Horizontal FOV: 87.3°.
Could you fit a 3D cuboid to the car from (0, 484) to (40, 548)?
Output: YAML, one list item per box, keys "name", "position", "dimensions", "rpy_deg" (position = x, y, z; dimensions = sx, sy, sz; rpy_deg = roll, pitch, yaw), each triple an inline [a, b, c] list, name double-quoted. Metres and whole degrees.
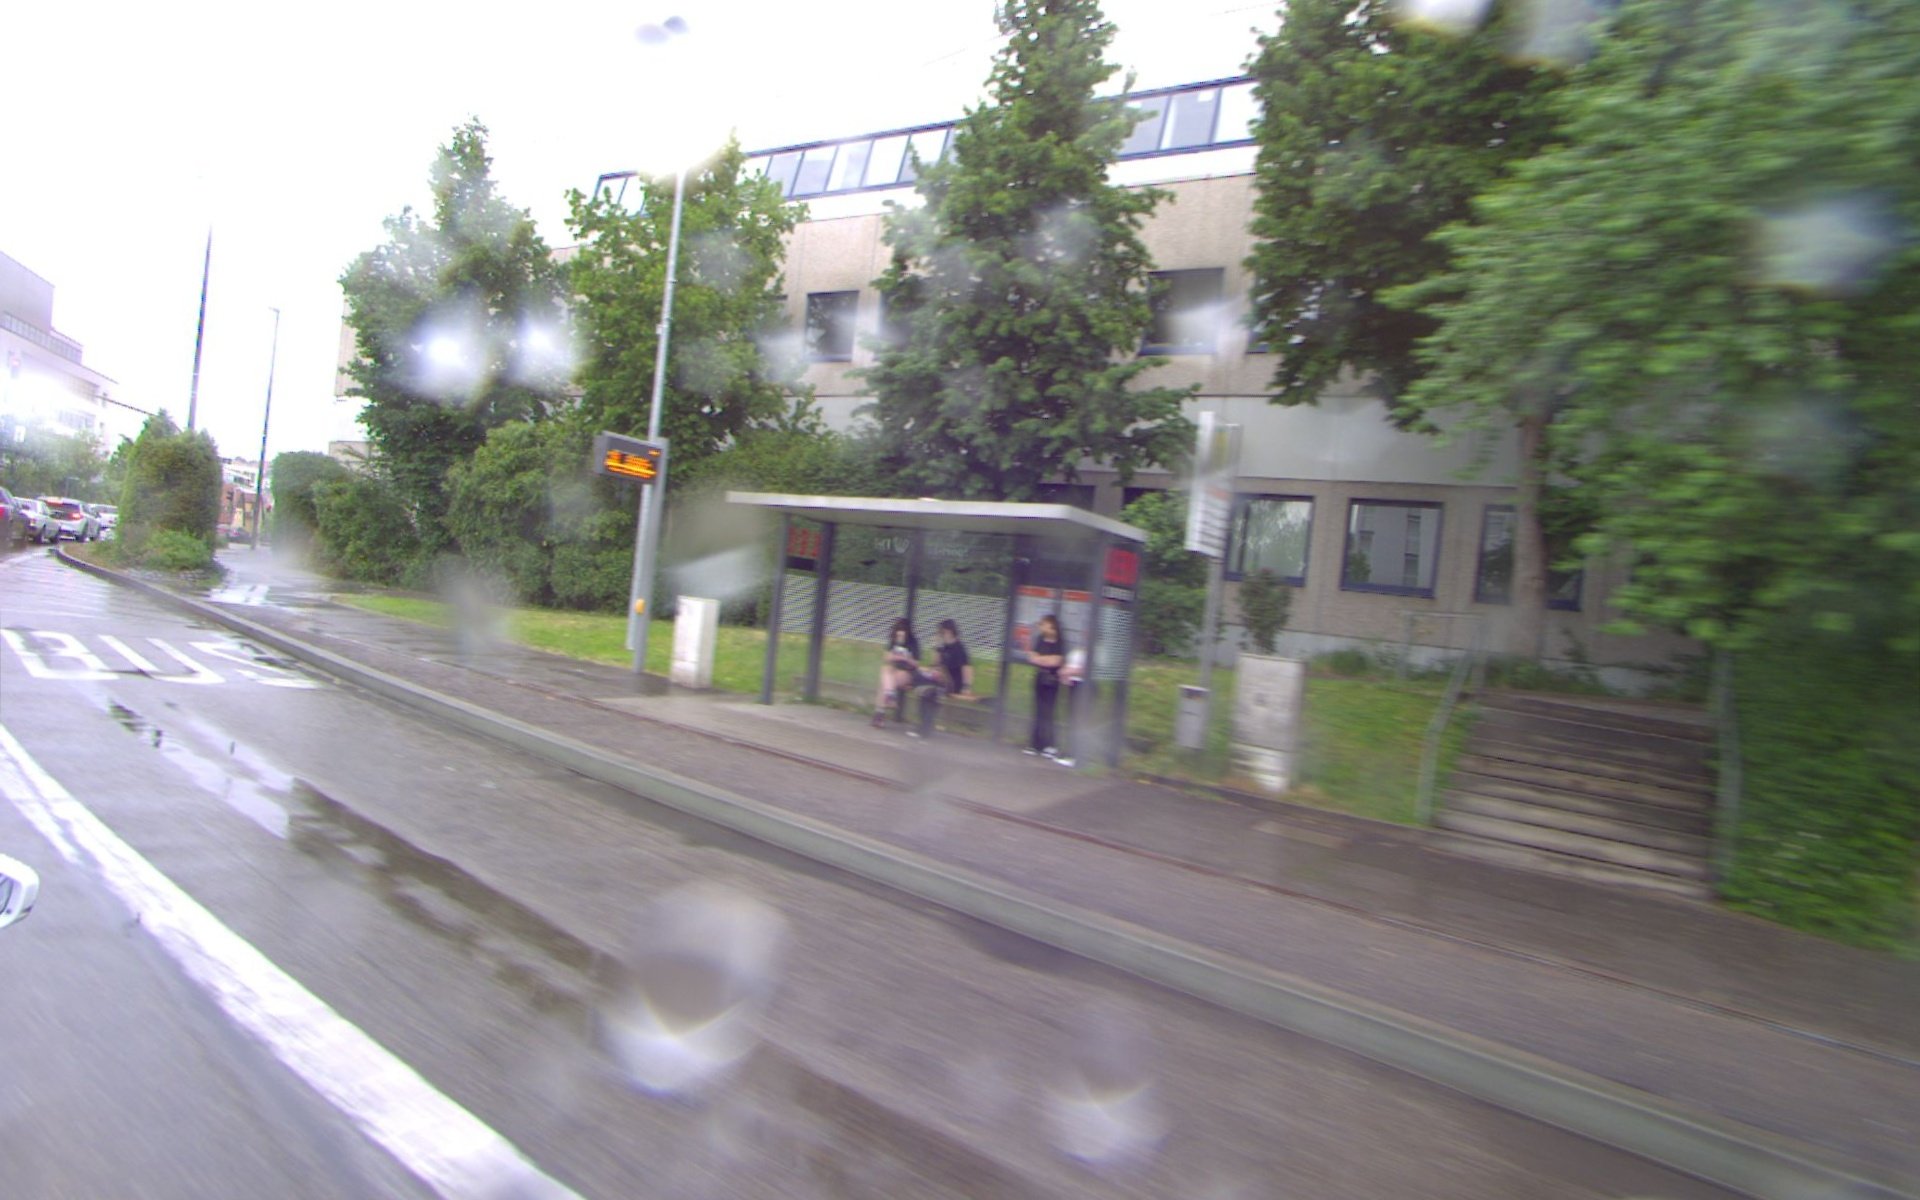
- name: "car"
  position: [-26.592, -2.382, 27.217]
  dimensions: [1.891, 1.640, 4.293]
  rpy_deg: [8, -1, -36]

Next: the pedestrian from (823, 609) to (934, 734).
- name: "pedestrian"
  position: [-0.925, 0.797, 11.522]
  dimensions: [0.680, 1.298, 1.030]
  rpy_deg: [7, 2, 31]

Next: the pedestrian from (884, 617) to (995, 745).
- name: "pedestrian"
  position: [-0.216, 0.882, 11.289]
  dimensions: [0.680, 1.298, 1.030]
  rpy_deg: [7, 2, 31]

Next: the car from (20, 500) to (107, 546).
- name: "car"
  position: [-33.910, -2.883, 38.144]
  dimensions: [1.900, 1.417, 3.426]
  rpy_deg: [7, -1, -34]

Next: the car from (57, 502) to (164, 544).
- name: "car"
  position: [-49.553, -4.477, 58.823]
  dimensions: [1.855, 1.702, 4.510]
  rpy_deg: [7, -1, 11]

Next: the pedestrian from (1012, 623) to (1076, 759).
- name: "pedestrian"
  position: [0.904, 0.971, 10.893]
  dimensions: [0.405, 1.383, 0.541]
  rpy_deg: [5, 2, -15]

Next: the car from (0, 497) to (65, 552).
- name: "car"
  position: [-30.492, -2.478, 32.634]
  dimensions: [1.625, 1.466, 4.226]
  rpy_deg: [8, 0, -36]

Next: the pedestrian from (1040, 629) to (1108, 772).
- name: "pedestrian"
  position: [1.171, 1.027, 10.397]
  dimensions: [0.405, 1.383, 0.541]
  rpy_deg: [5, 2, -14]
